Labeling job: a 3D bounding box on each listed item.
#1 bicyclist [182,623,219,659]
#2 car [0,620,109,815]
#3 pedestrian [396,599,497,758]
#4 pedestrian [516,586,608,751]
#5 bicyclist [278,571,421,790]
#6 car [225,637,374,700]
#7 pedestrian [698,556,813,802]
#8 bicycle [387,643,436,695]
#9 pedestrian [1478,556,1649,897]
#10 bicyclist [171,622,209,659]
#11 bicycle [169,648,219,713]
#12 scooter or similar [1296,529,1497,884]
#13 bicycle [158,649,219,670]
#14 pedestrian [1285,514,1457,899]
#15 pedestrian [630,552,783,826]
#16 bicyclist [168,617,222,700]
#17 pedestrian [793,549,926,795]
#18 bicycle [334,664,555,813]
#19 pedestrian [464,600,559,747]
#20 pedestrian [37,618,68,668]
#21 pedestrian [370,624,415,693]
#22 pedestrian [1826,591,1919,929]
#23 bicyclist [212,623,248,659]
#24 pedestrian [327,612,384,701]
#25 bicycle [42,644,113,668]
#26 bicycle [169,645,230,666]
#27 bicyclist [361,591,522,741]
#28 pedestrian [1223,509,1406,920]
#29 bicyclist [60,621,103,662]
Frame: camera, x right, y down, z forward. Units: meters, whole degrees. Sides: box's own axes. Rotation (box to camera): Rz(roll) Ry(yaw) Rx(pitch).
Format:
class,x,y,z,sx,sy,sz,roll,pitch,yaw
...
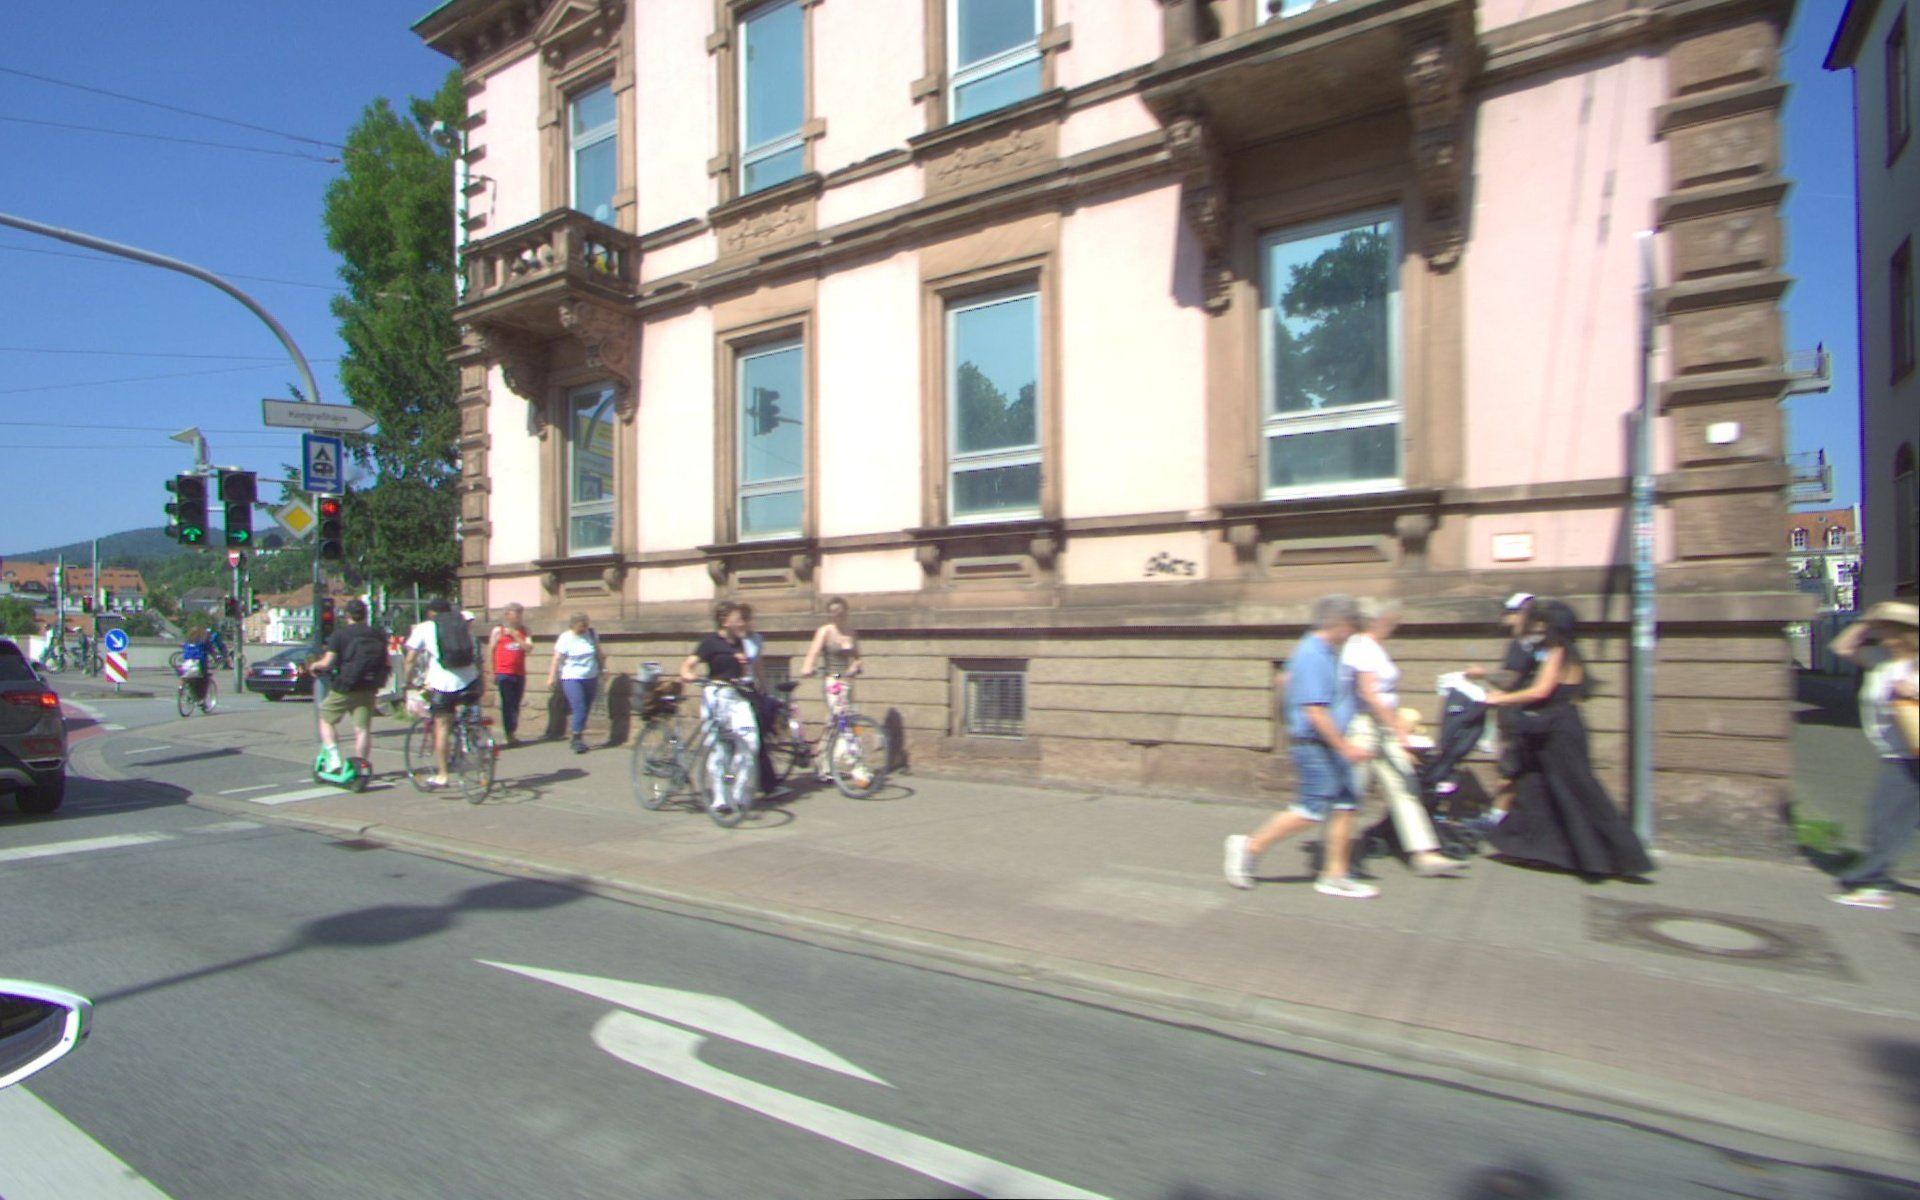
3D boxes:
class,x,y,z,sx,sy,sz,roll,pitch,yaw
bicyclist,-31.540,1.703,41.578,1.068,1.492,0.758,2,-2,-29
car,-9.363,0.935,8.720,3.937,1.535,1.926,-1,-3,33
pedestrian,-6.037,0.891,11.781,0.890,1.792,0.704,0,0,31
pedestrian,-4.828,0.804,12.141,0.890,1.916,0.633,0,0,31
bicyclist,-6.036,0.758,9.920,0.818,2.040,0.940,0,0,32
car,-17.473,1.770,26.743,1.963,1.455,3.997,1,-1,-12
pedestrian,-1.780,0.655,8.743,0.689,2.041,0.659,0,1,32
bicycle,-14.147,1.792,25.798,0.792,1.220,2.261,-2,-3,-35
pedestrian,3.523,0.668,5.868,0.803,1.817,0.810,0,2,32
bicyclist,-32.408,1.708,42.146,0.918,1.492,1.074,0,-2,44
bicycle,-15.136,1.561,19.825,0.609,1.179,2.236,1,-2,-33
scooter or similar,2.755,0.621,6.322,1.080,2.040,0.691,0,0,32
bicycle,-32.465,2.514,42.149,0.559,0.837,1.930,0,-3,42
pedestrian,2.418,0.563,5.856,0.803,2.041,0.810,0,2,32
pedestrian,-2.012,0.661,7.990,0.803,2.041,0.810,0,2,32
bicyclist,-15.128,1.136,19.825,0.767,1.574,1.053,1,-1,-34
pedestrian,-0.876,0.597,8.850,0.803,2.041,0.810,0,2,32
bicycle,-4.622,1.166,8.926,2.107,1.117,0.777,-1,0,31
pedestrian,-5.666,0.905,12.657,0.890,1.775,0.704,-1,-1,31
pedestrian,-34.551,1.637,38.123,0.637,1.879,0.770,0,-1,40
pedestrian,-14.588,1.476,25.745,0.880,1.732,0.672,0,0,34
pedestrian,5.012,0.774,5.078,0.803,1.624,0.810,0,2,32
bicyclist,-31.110,1.731,42.693,1.073,1.492,0.919,3,-2,-44
pedestrian,-14.324,1.315,23.718,1.045,2.040,0.773,0,0,33
bicycle,-33.009,2.101,37.465,0.559,0.837,1.930,0,-3,42
bicycle,-31.554,2.304,41.563,1.917,0.864,0.562,3,-2,-29
bicyclist,-4.608,0.554,8.920,0.958,1.235,0.919,0,0,32
pedestrian,1.970,0.579,5.535,0.803,2.040,0.810,0,0,32
bicyclist,-32.942,1.551,37.554,0.791,1.492,1.075,0,-2,42
